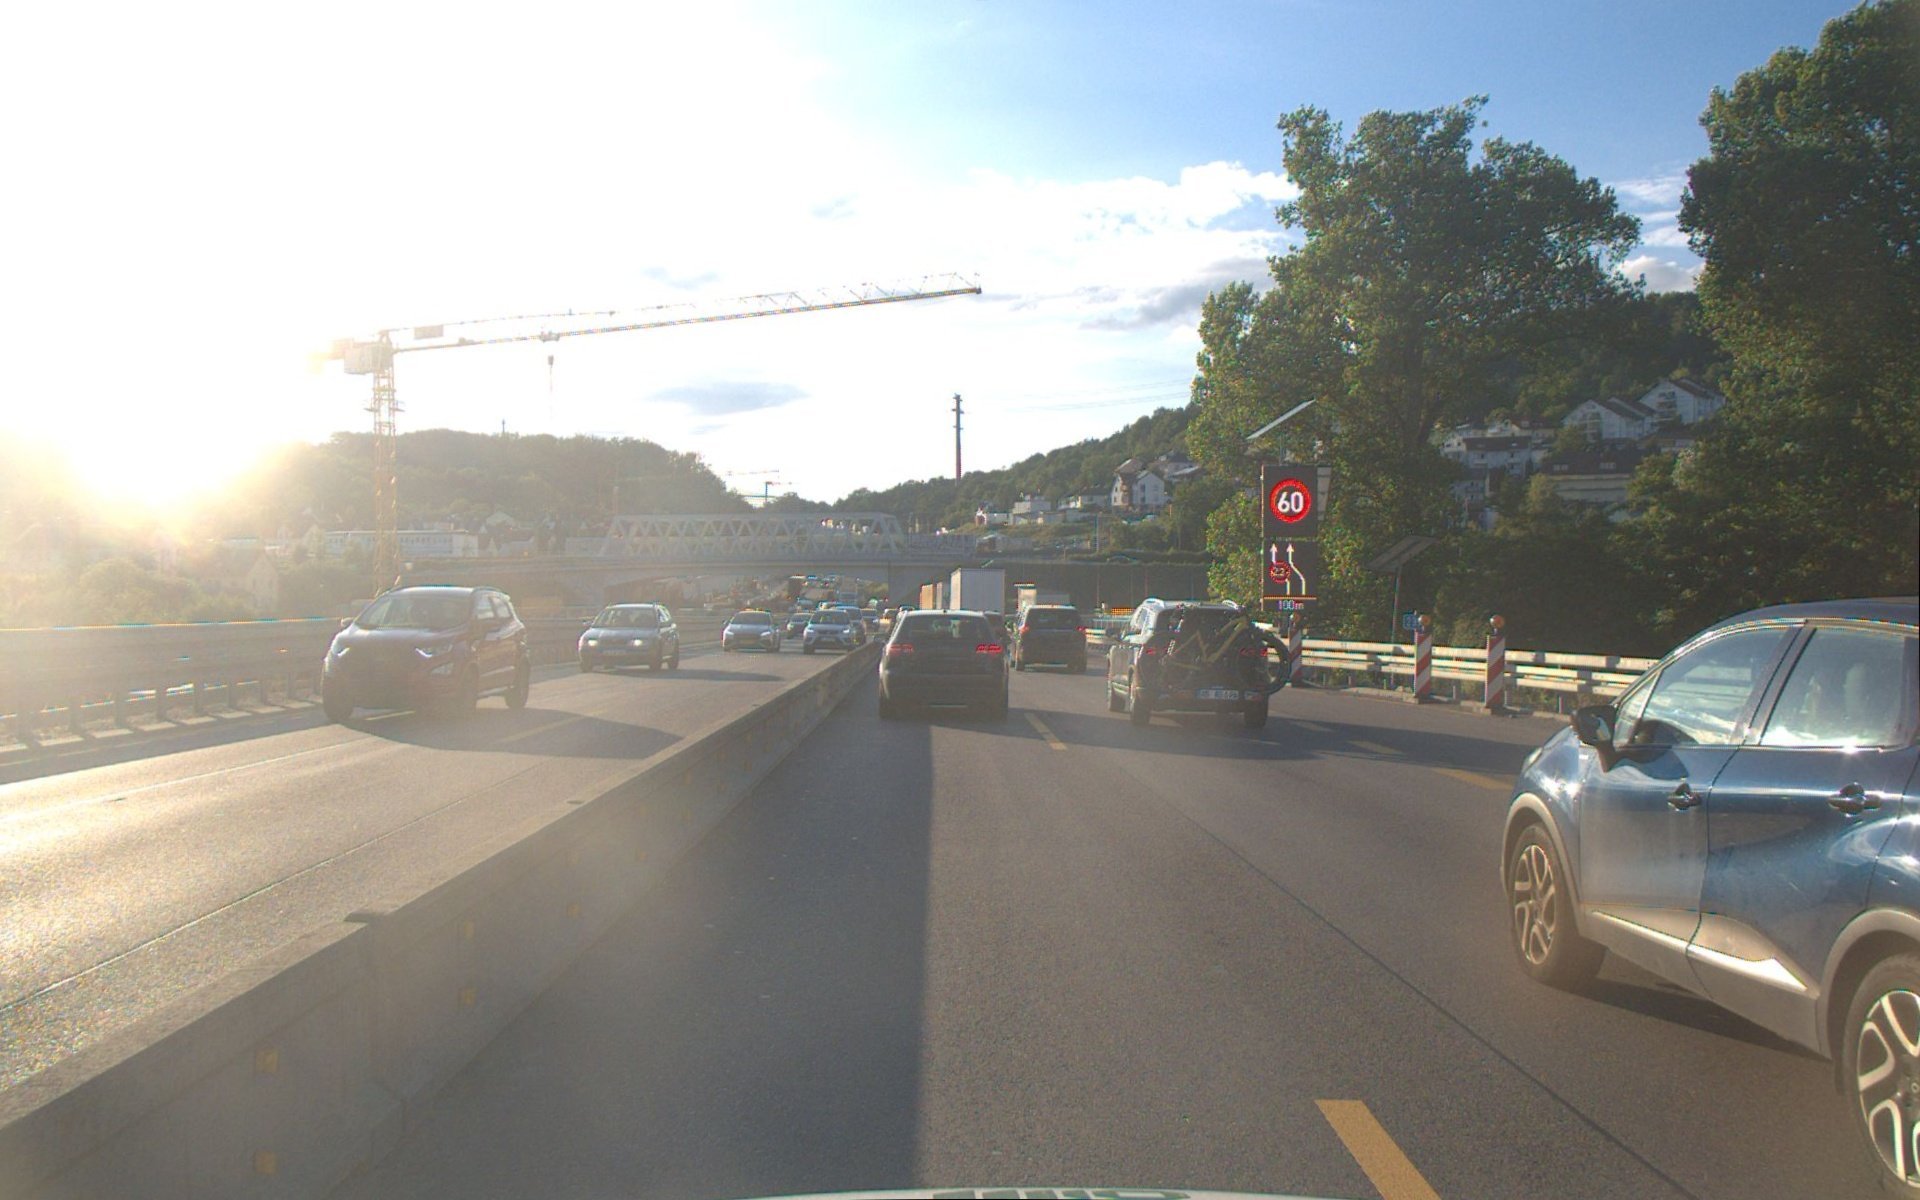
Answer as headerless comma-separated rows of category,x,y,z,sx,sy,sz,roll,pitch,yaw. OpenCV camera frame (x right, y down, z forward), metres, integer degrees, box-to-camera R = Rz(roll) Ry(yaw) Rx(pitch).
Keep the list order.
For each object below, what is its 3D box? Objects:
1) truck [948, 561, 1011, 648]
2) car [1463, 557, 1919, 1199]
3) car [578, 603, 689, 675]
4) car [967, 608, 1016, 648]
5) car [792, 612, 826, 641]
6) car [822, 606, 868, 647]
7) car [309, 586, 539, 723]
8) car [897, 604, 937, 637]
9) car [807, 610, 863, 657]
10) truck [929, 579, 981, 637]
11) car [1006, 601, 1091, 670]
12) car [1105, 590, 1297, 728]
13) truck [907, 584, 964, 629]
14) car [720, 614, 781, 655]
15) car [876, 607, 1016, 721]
truck,1.005,0.052,97.275,3.317,4.576,15.267,1,2,-1
car,3.253,0.707,5.600,1.738,1.614,4.134,1,0,-1
car,-7.230,0.823,37.004,1.643,1.447,4.578,1,0,-1
car,1.286,1.151,68.903,1.735,1.580,3.997,2,0,-3
car,-8.663,1.510,95.128,1.676,1.579,3.999,0,0,-2
car,-5.313,1.216,76.621,1.953,1.789,4.658,1,-1,-2
car,-6.759,0.624,21.285,1.744,1.598,3.999,0,0,-2
car,-2.121,0.966,80.838,1.730,1.512,3.997,2,0,-4
car,-4.339,1.147,57.734,1.768,1.538,3.998,0,0,-2
truck,-0.540,0.544,138.551,3.812,4.576,15.262,1,1,-2
car,2.240,0.882,42.792,1.778,1.661,4.409,1,0,-2
car,3.073,0.727,22.061,1.837,1.627,4.965,0,-1,0
truck,-2.776,0.594,178.392,3.820,4.576,13.814,1,1,-10
car,-7.530,1.227,59.706,1.738,1.406,4.530,0,-1,-2
car,-0.274,0.816,22.887,1.735,1.414,3.997,1,0,-3
